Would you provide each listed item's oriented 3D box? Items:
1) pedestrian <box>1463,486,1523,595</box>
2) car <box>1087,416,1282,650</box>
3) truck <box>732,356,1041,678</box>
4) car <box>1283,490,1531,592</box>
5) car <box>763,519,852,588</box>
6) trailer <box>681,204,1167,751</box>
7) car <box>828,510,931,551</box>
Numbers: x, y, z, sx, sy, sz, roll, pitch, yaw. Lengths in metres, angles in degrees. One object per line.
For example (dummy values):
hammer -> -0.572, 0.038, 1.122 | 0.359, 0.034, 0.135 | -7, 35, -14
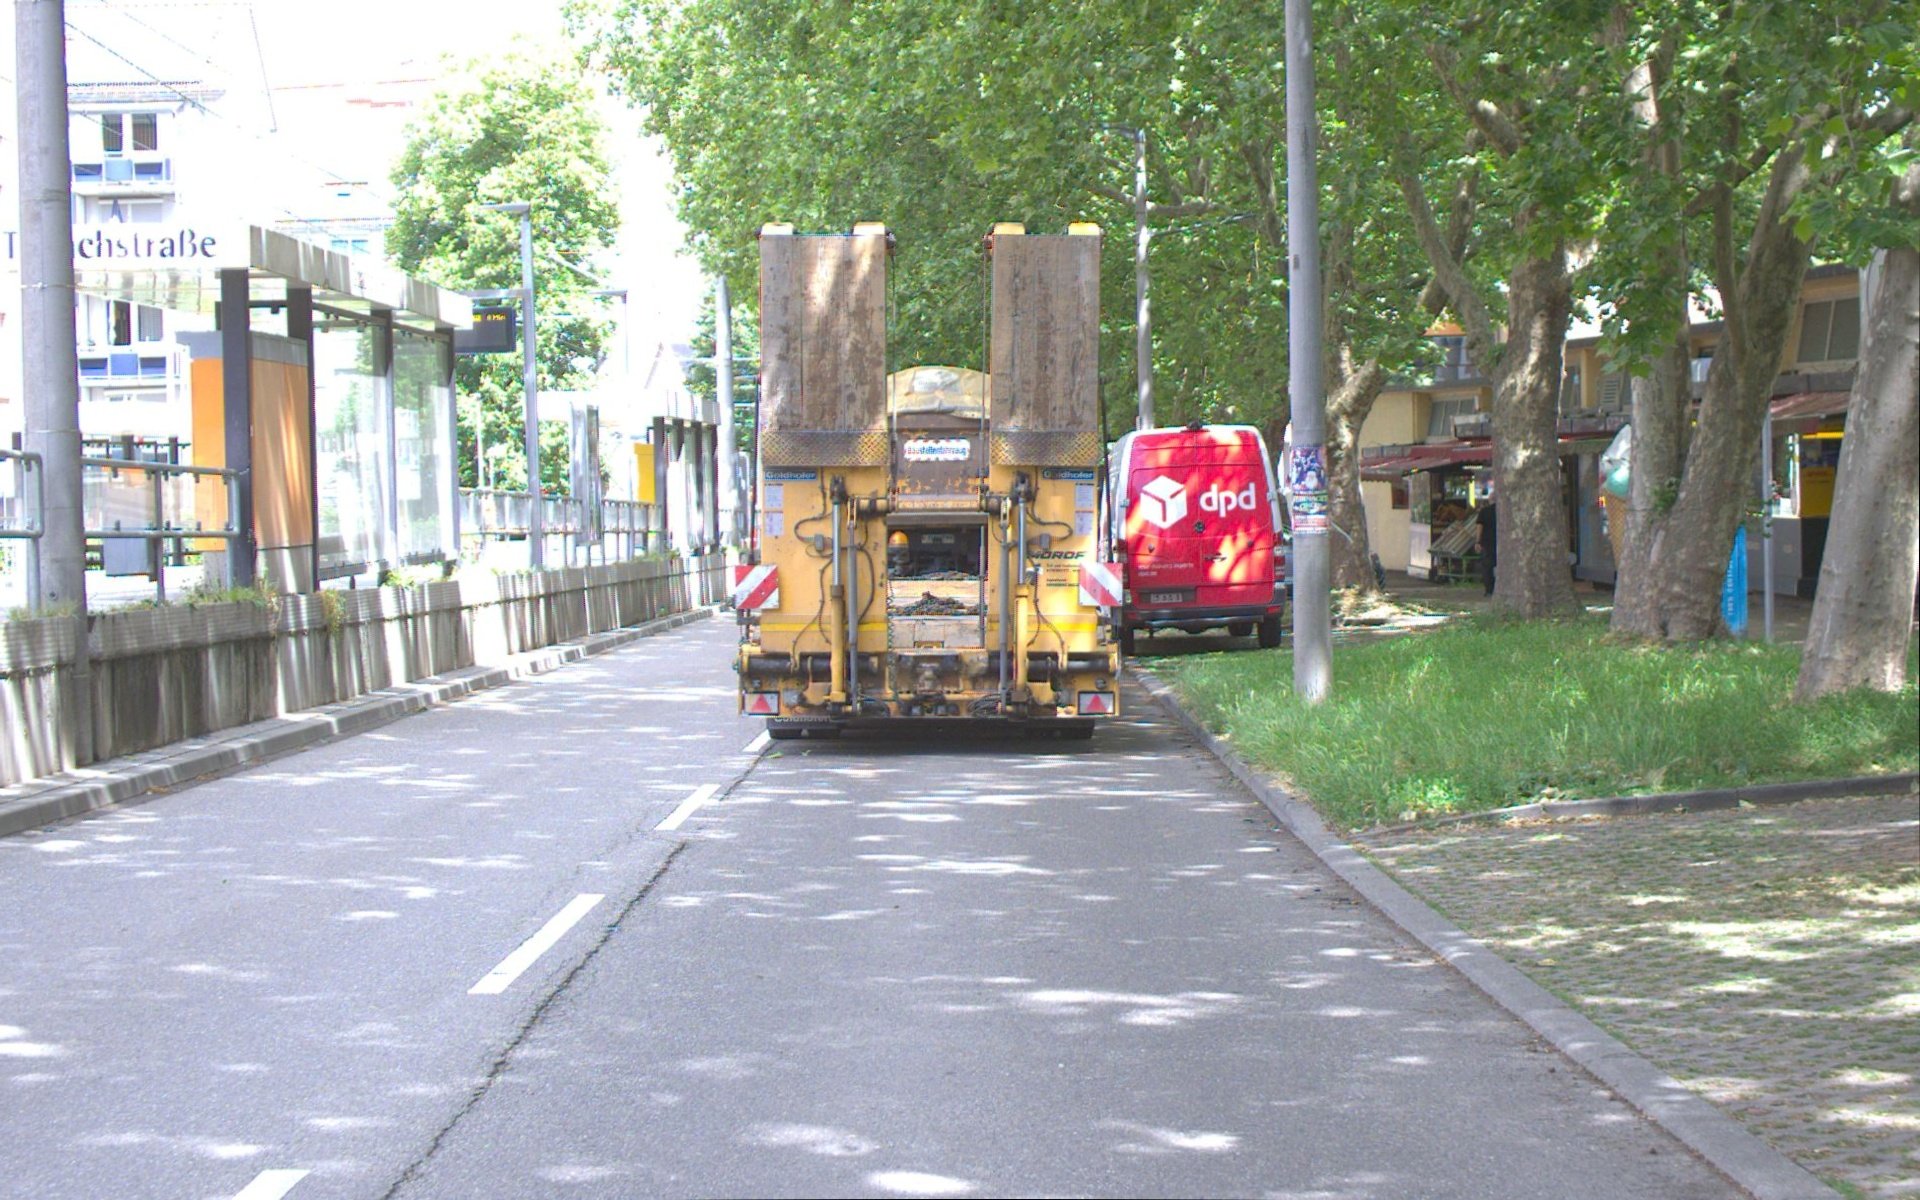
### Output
pedestrian -> 8.596, -0.965, 55.472 | 0.759, 1.719, 0.659 | -2, 1, -4
car -> 2.669, -0.808, 42.370 | 1.904, 2.572, 6.834 | -3, 1, 1
truck -> -0.848, -0.866, 37.327 | 2.989, 3.124, 7.888 | 0, 1, -2
car -> 7.509, -0.993, 57.919 | 3.829, 1.557, 1.620 | -2, 1, -6
car -> -3.158, -0.971, 71.581 | 1.732, 1.391, 3.752 | 1, 1, -1
trailer -> -0.472, -0.880, 27.860 | 3.154, 3.540, 11.098 | 0, 1, -3
car -> -4.261, -3.699, 182.026 | 5.088, 2.095, 1.977 | -1, 1, -13
